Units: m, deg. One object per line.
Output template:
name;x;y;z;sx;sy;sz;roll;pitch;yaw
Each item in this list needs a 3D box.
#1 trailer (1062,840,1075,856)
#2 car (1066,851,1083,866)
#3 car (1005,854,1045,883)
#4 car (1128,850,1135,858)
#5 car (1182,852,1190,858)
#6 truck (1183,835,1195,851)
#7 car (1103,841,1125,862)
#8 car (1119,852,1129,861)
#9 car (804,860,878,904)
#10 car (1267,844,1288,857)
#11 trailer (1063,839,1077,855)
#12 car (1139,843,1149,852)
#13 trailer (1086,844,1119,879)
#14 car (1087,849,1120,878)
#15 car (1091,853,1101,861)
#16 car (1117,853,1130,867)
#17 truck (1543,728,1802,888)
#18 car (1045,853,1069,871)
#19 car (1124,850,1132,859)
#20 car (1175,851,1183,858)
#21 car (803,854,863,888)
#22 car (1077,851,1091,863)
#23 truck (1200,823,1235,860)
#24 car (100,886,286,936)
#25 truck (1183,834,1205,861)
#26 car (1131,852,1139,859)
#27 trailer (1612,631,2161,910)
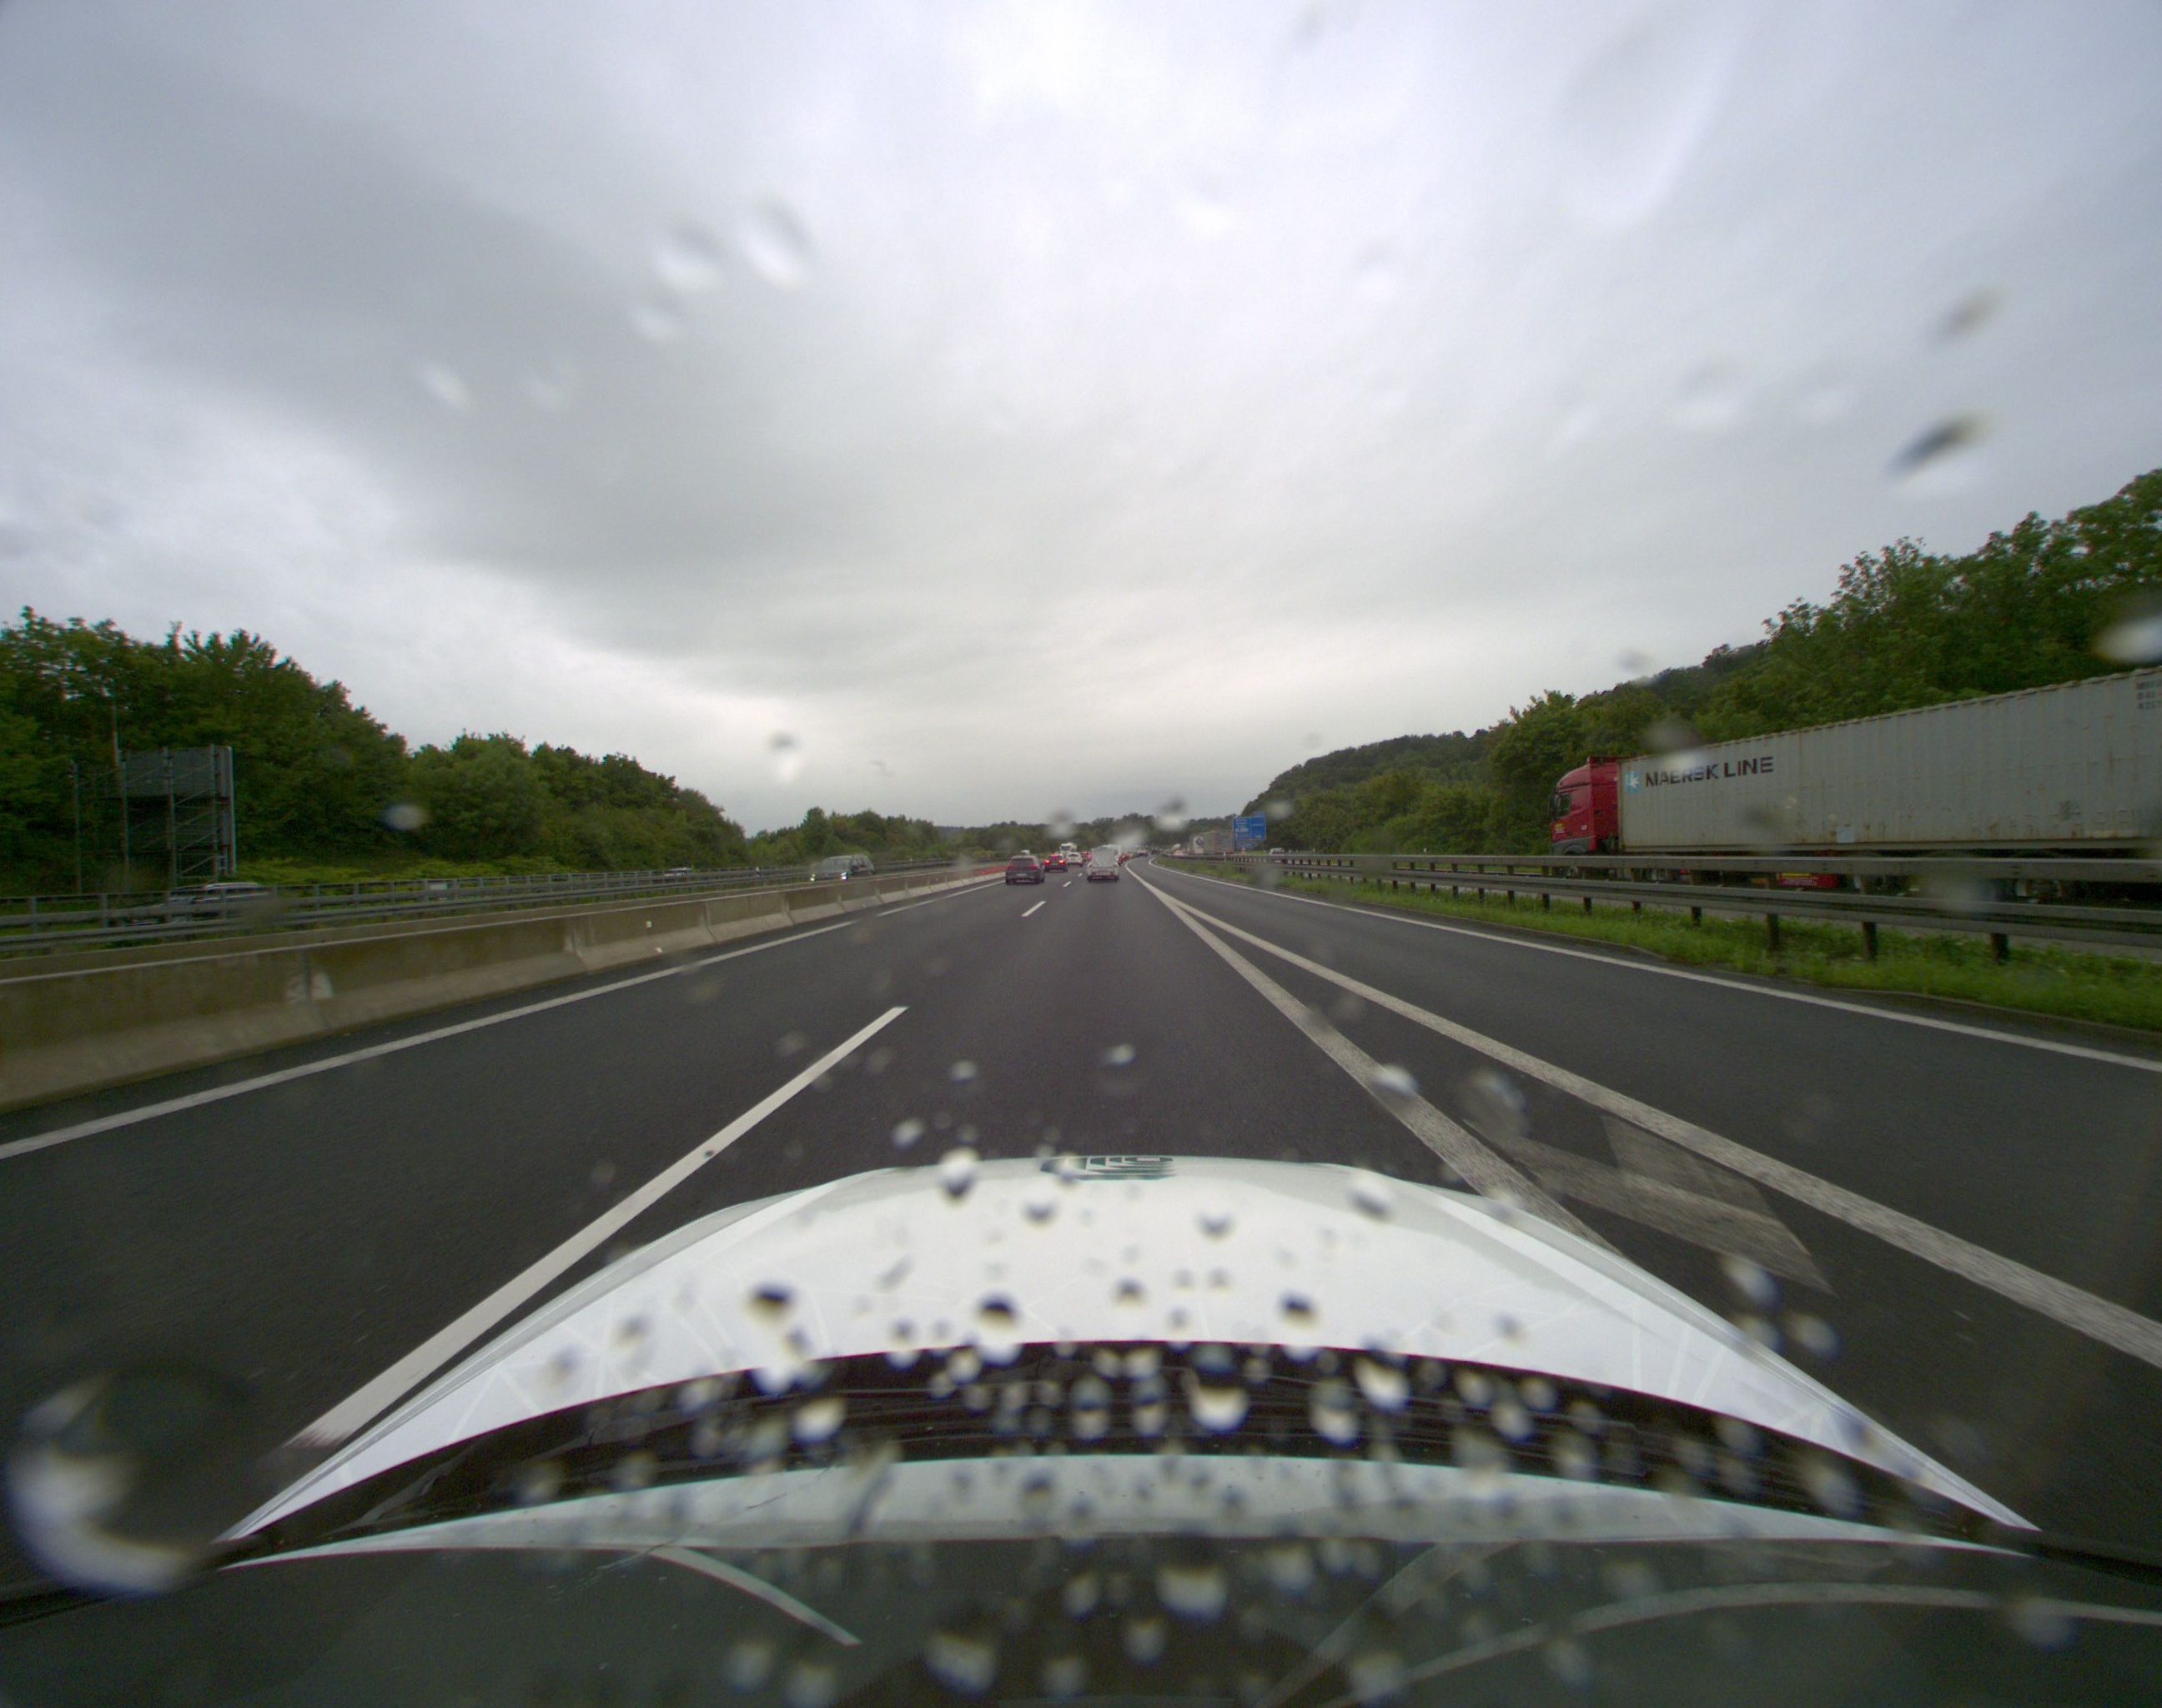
trailer;-3.090;-1.439;203.043;2.625;3.715;6.497;-1;0;3
car;-0.747;0.488;93.495;1.769;1.640;4.045;-1;0;2
car;-2.878;0.738;42.703;1.669;1.456;4.002;-1;0;2
car;12.376;0.008;199.788;1.668;1.812;4.004;-1;0;4
car;26.898;0.230;208.361;1.668;1.456;4.004;-1;0;3
truck;33.713;-3.454;254.953;3.643;4.666;13.057;-1;0;7
car;4.164;-0.285;101.958;2.496;2.585;5.706;-1;0;4
car;8.227;0.455;155.147;1.668;1.812;4.004;-1;0;4
car;-11.633;1.295;39.868;1.986;2.014;4.984;-1;0;2
car;22.693;-0.373;94.325;1.669;1.456;4.003;-1;0;3
trailer;-2.807;-1.766;208.820;2.625;3.736;10.819;-1;0;3
car;18.702;-1.779;241.267;2.502;2.574;5.322;-1;0;6
trailer;1.209;0.397;44.614;1.669;1.812;4.002;-1;0;2
car;1.387;0.527;48.341;1.811;1.616;4.782;-1;0;3
car;2.916;0.566;158.531;1.768;1.640;4.047;-1;0;4
car;6.628;0.971;126.803;1.667;2.067;4.007;-1;0;6
truck;16.242;-1.117;23.062;2.608;3.884;6.389;-1;0;-1
car;-1.955;0.649;68.113;1.758;1.456;4.002;-1;0;2
car;9.930;0.049;171.606;1.668;1.812;4.004;-1;0;4
car;22.109;0.172;183.824;1.667;1.456;4.006;-1;0;6
car;-15.162;1.004;50.104;1.986;2.014;4.984;-1;0;2
car;0.441;0.405;117.984;1.769;1.640;4.045;-1;0;2
truck;18.384;-1.616;110.658;3.202;4.666;13.043;-1;0;3
car;-32.048;2.017;29.612;1.812;1.493;4.475;-1;0;1
truck;20.638;-1.136;149.397;3.201;4.666;13.047;-1;0;4
car;14.255;0.379;214.121;2.027;1.683;4.006;-1;0;5
trailer;16.329;-1.148;16.697;2.596;3.894;12.485;-1;0;-1
